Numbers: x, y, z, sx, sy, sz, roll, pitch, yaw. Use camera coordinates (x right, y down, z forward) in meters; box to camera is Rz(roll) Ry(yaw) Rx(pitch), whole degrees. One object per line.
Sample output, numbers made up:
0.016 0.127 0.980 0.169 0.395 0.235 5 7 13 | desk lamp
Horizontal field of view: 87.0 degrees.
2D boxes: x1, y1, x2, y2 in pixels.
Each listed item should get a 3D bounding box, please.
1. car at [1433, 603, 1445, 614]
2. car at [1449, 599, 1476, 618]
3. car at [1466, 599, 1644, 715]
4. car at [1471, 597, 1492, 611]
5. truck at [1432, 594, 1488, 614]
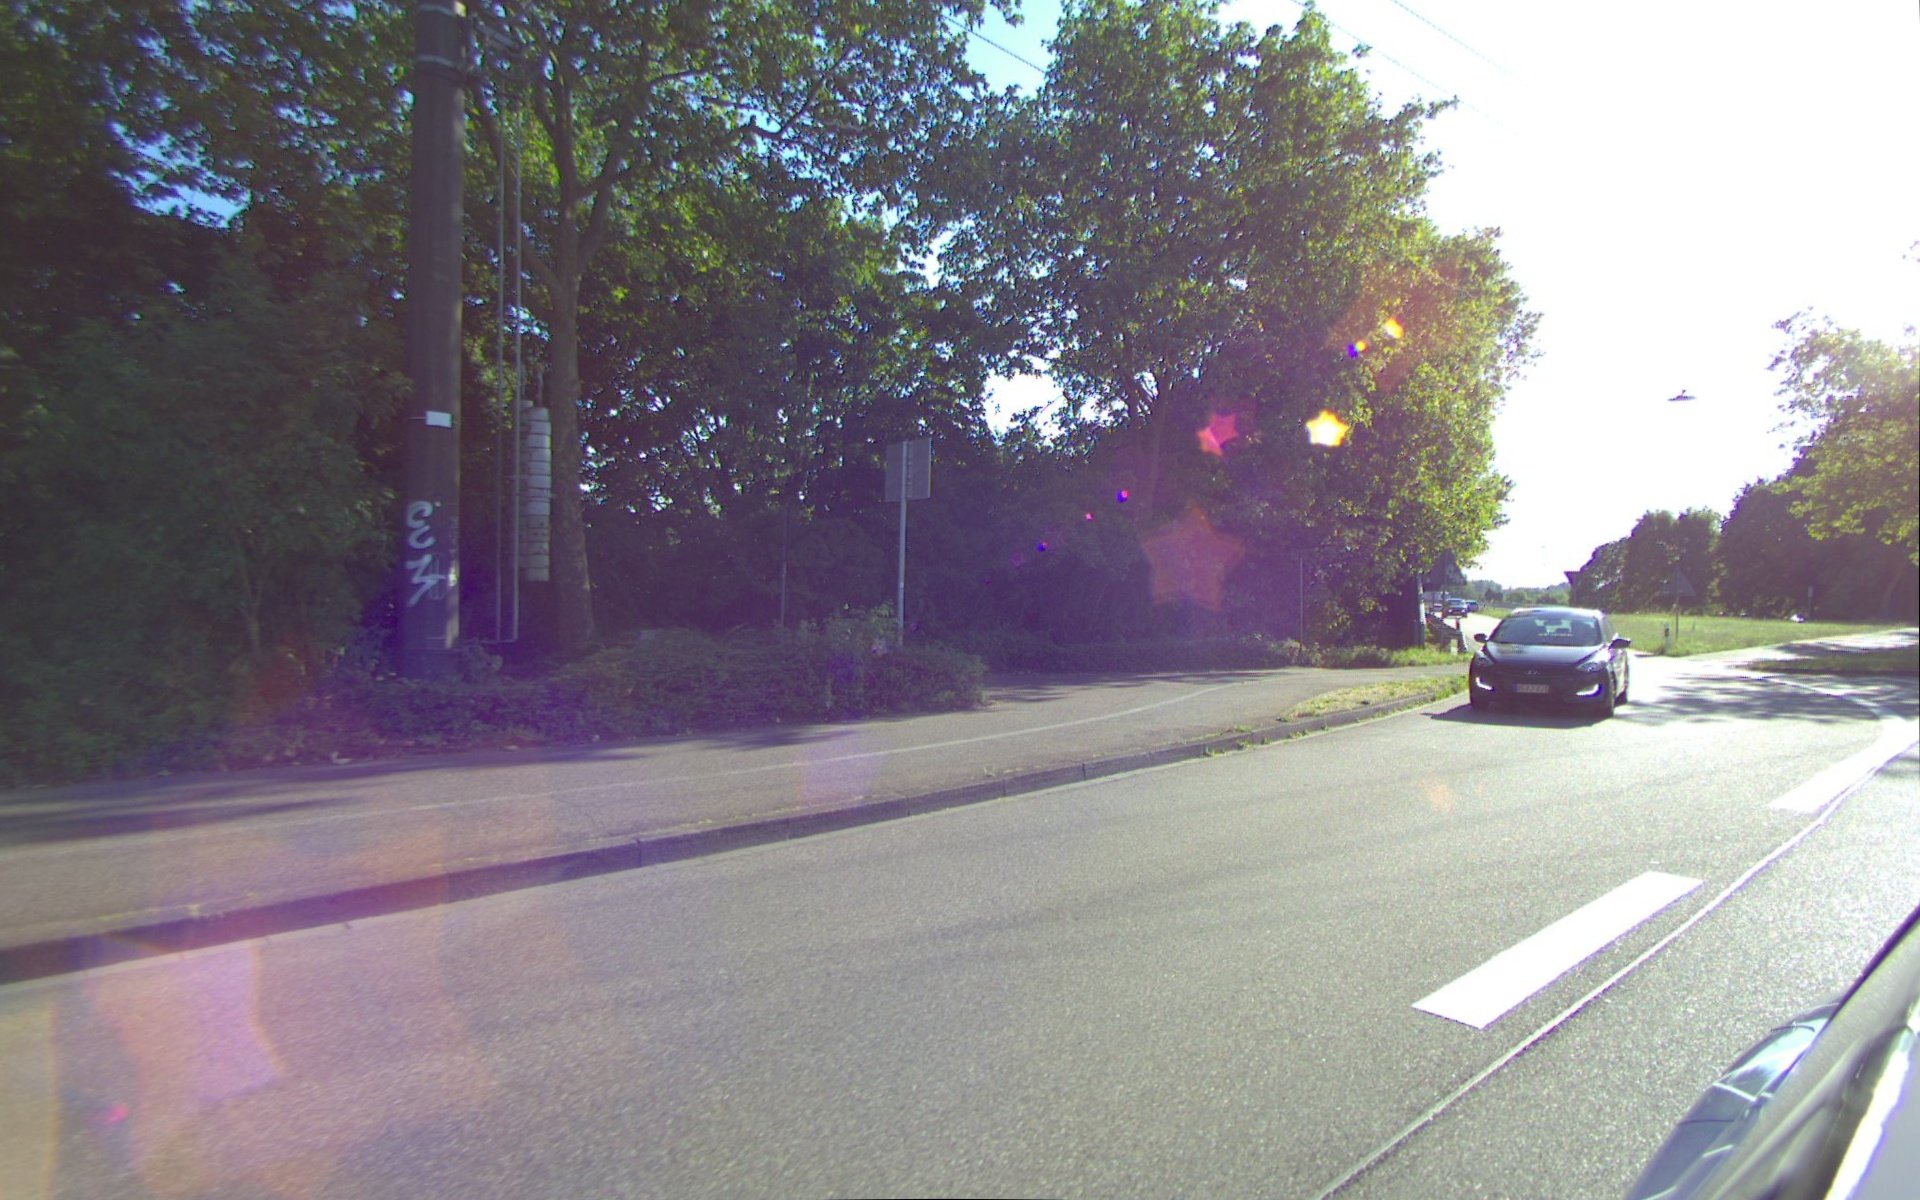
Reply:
78.683 1.351 166.323 1.796 1.795 3.828 0 0 26 | car
40.334 0.659 81.290 1.779 1.458 4.189 0 0 24 | car
9.029 0.722 15.192 1.789 1.458 4.166 0 0 38 | car
59.522 0.442 115.556 1.674 1.435 4.107 0 0 21 | car
107.917 0.836 218.567 10.487 3.537 2.633 5 2 22 | truck
